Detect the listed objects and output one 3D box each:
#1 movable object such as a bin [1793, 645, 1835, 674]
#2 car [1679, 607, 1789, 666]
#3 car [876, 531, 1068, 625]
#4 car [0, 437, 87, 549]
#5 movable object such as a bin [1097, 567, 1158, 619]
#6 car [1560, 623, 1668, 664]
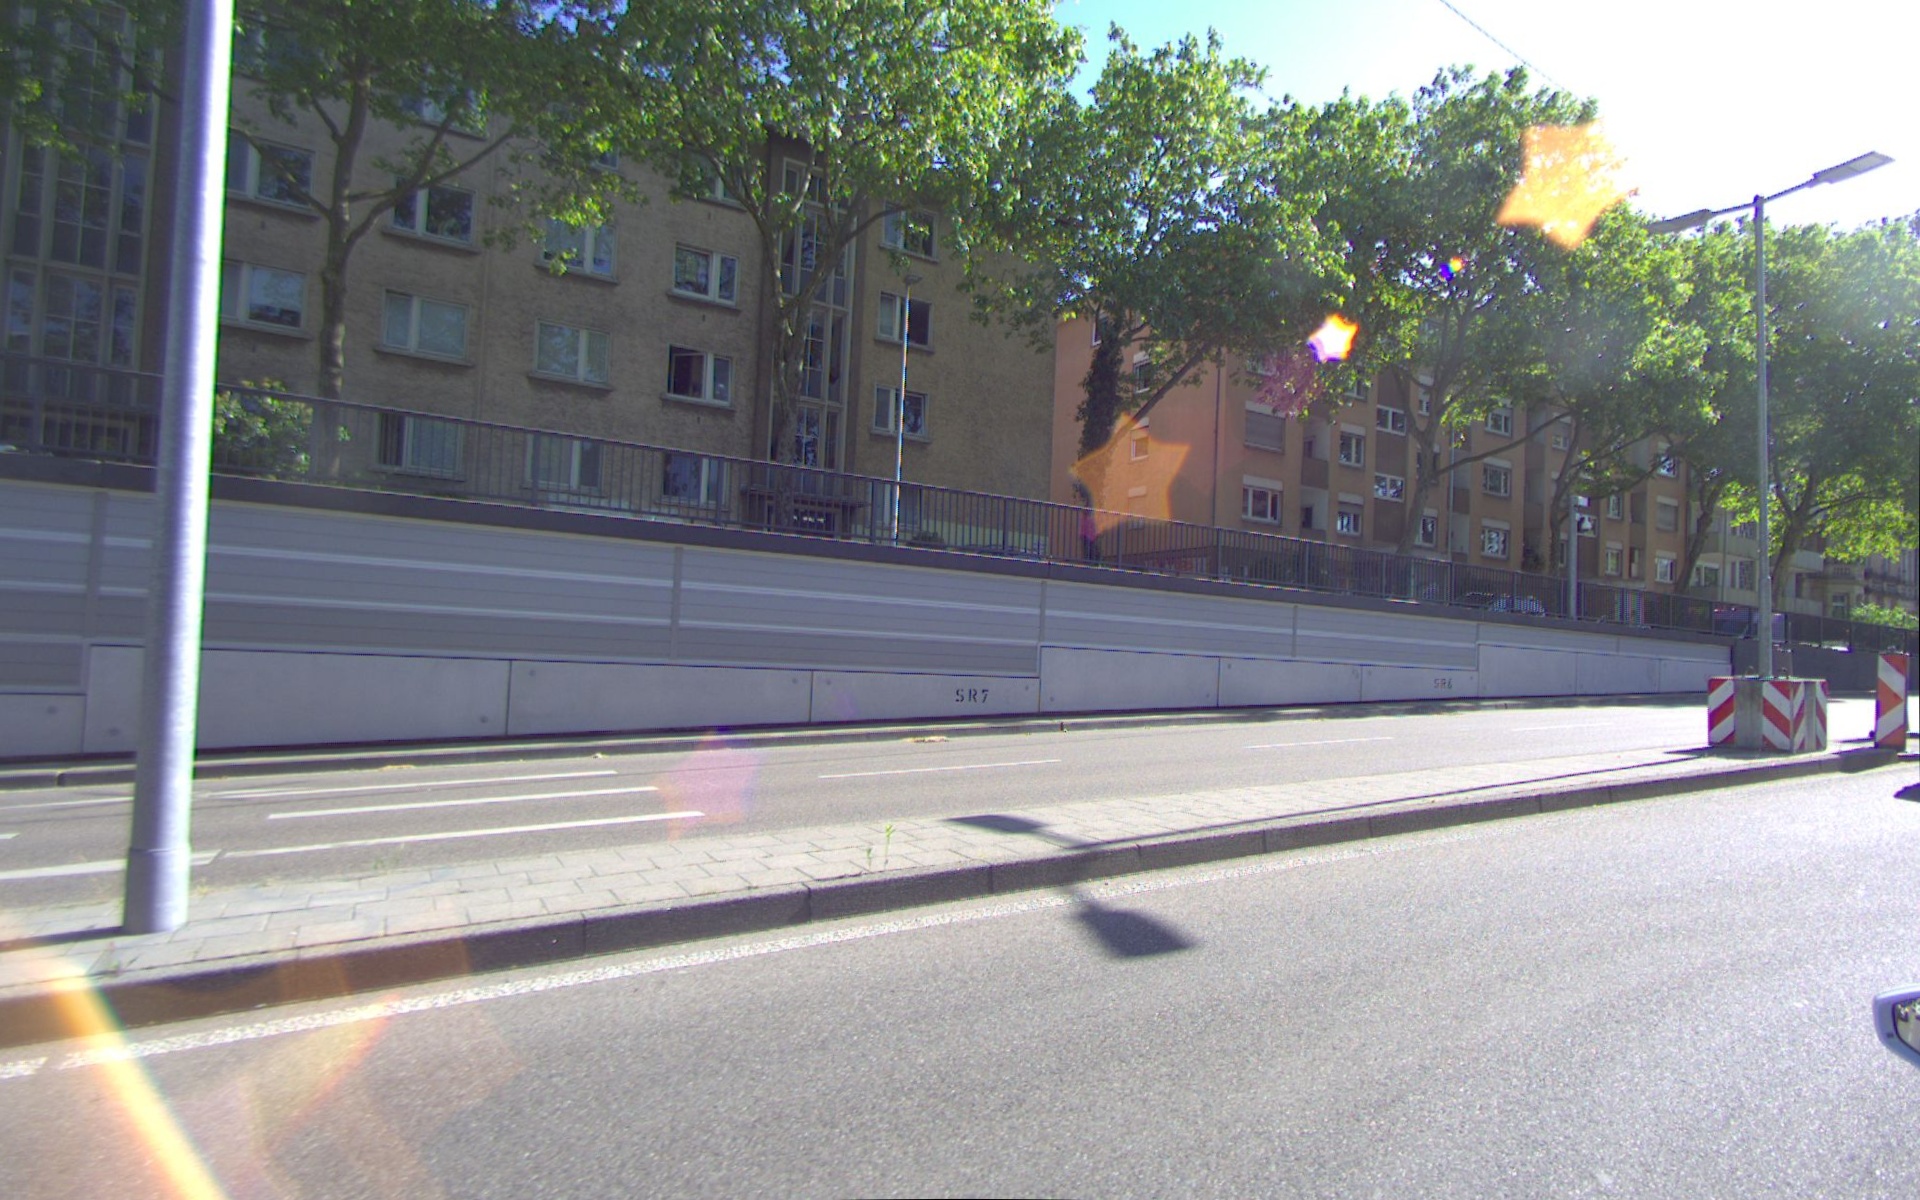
[{"bbox_3d":[45.021,3.139,52.962,1.286,1.420,1.273,4,-1,-29],"label":"movable object such as a bin"},{"bbox_3d":[35.219,1.672,45.697,5.354,2.390,1.985,4,-1,-29],"label":"car"},{"bbox_3d":[0.322,-0.482,25.193,4.363,1.986,1.956,4,-1,-30],"label":"car"},{"bbox_3d":[-16.392,-1.781,15.348,4.258,1.604,1.910,4,-1,-32],"label":"car"},{"bbox_3d":[5.138,-0.215,30.817,1.346,1.503,1.197,4,-1,-38],"label":"movable object such as a bin"},{"bbox_3d":[26.419,1.774,40.563,4.124,1.407,1.984,4,-1,-30],"label":"car"}]
